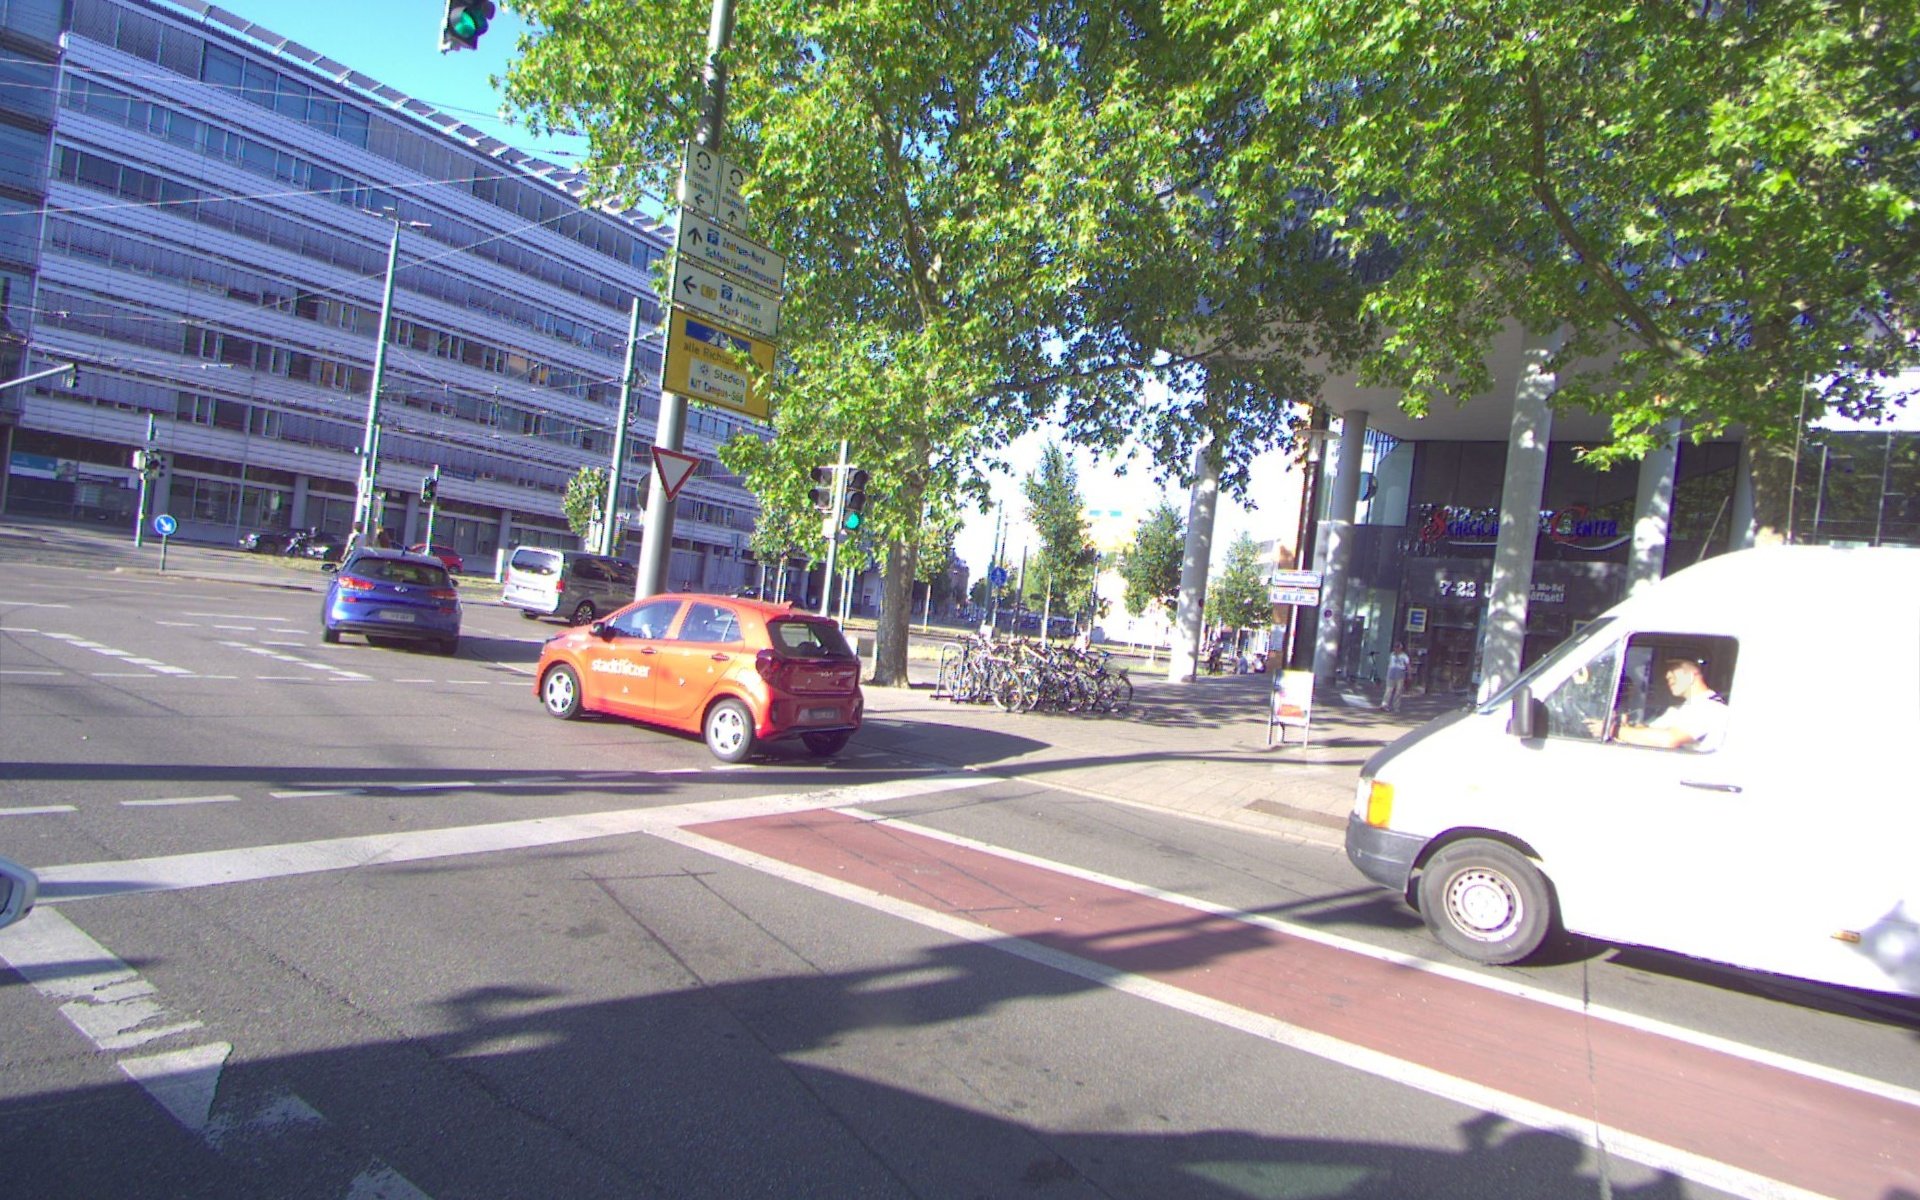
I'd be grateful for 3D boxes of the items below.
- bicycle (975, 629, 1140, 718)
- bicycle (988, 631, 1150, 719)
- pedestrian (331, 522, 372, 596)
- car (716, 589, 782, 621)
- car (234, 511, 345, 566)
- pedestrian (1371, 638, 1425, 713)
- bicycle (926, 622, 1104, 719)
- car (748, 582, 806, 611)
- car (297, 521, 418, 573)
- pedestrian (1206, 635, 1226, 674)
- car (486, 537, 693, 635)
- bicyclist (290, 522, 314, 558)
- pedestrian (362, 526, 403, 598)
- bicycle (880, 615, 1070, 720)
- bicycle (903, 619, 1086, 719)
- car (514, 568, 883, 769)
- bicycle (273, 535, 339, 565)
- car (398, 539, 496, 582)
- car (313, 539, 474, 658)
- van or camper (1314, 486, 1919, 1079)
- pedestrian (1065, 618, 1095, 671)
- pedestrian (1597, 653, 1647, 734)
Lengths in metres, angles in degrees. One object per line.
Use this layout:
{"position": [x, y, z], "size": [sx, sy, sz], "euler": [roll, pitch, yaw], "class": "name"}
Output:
{"position": [1.763, 1.327, 18.528], "size": [2.896, 1.253, 0.704], "euler": [6, 0, 31], "class": "bicycle"}
{"position": [2.047, 1.414, 19.179], "size": [2.896, 1.250, 0.698], "euler": [6, -4, 31], "class": "bicycle"}
{"position": [-15.532, -1.058, 25.672], "size": [0.674, 1.781, 0.734], "euler": [6, 1, -38], "class": "pedestrian"}
{"position": [-14.330, 0.346, 68.440], "size": [1.852, 1.614, 4.121], "euler": [6, -2, 35], "class": "car"}
{"position": [-33.288, -3.023, 50.029], "size": [1.967, 2.037, 3.995], "euler": [6, -2, 32], "class": "car"}
{"position": [11.932, 2.045, 27.430], "size": [0.800, 1.913, 0.871], "euler": [5, 1, -16], "class": "pedestrian"}
{"position": [0.892, 1.166, 16.971], "size": [2.897, 1.252, 0.705], "euler": [6, -1, 32], "class": "bicycle"}
{"position": [-13.817, -0.229, 76.177], "size": [1.852, 1.614, 4.121], "euler": [6, -2, 35], "class": "car"}
{"position": [-27.385, -2.380, 45.853], "size": [1.854, 1.744, 4.256], "euler": [7, 0, 34], "class": "car"}
{"position": [11.196, 2.379, 43.964], "size": [0.540, 1.612, 0.595], "euler": [7, 0, 32], "class": "pedestrian"}
{"position": [-9.480, -0.273, 26.212], "size": [1.972, 1.919, 4.880], "euler": [7, -1, 26], "class": "car"}
{"position": [-30.204, -2.757, 46.177], "size": [0.604, 1.521, 0.663], "euler": [7, 1, 37], "class": "bicyclist"}
{"position": [-15.004, -0.984, 26.131], "size": [0.680, 1.781, 0.734], "euler": [6, 1, -38], "class": "pedestrian"}
{"position": [0.194, 1.027, 15.711], "size": [2.896, 1.252, 0.705], "euler": [6, -1, 31], "class": "bicycle"}
{"position": [0.520, 1.096, 16.339], "size": [2.896, 1.243, 0.686], "euler": [6, -1, 31], "class": "bicycle"}
{"position": [-2.747, 0.642, 10.408], "size": [3.536, 1.476, 1.493], "euler": [7, -1, 30], "class": "car"}
{"position": [-30.136, -2.285, 46.376], "size": [0.627, 1.035, 2.409], "euler": [7, 0, 36], "class": "bicycle"}
{"position": [-26.352, -2.007, 51.780], "size": [1.769, 1.569, 3.990], "euler": [6, -2, 36], "class": "car"}
{"position": [-9.221, -0.094, 16.194], "size": [1.738, 1.476, 4.172], "euler": [8, -1, -35], "class": "car"}
{"position": [5.503, 1.022, 5.253], "size": [6.390, 2.647, 2.002], "euler": [7, 0, 32], "class": "van or camper"}
{"position": [3.799, 1.413, 31.842], "size": [0.569, 1.612, 0.595], "euler": [7, 0, 32], "class": "pedestrian"}
{"position": [17.612, 2.492, 26.755], "size": [0.847, 2.037, 1.021], "euler": [6, -1, 38], "class": "pedestrian"}
